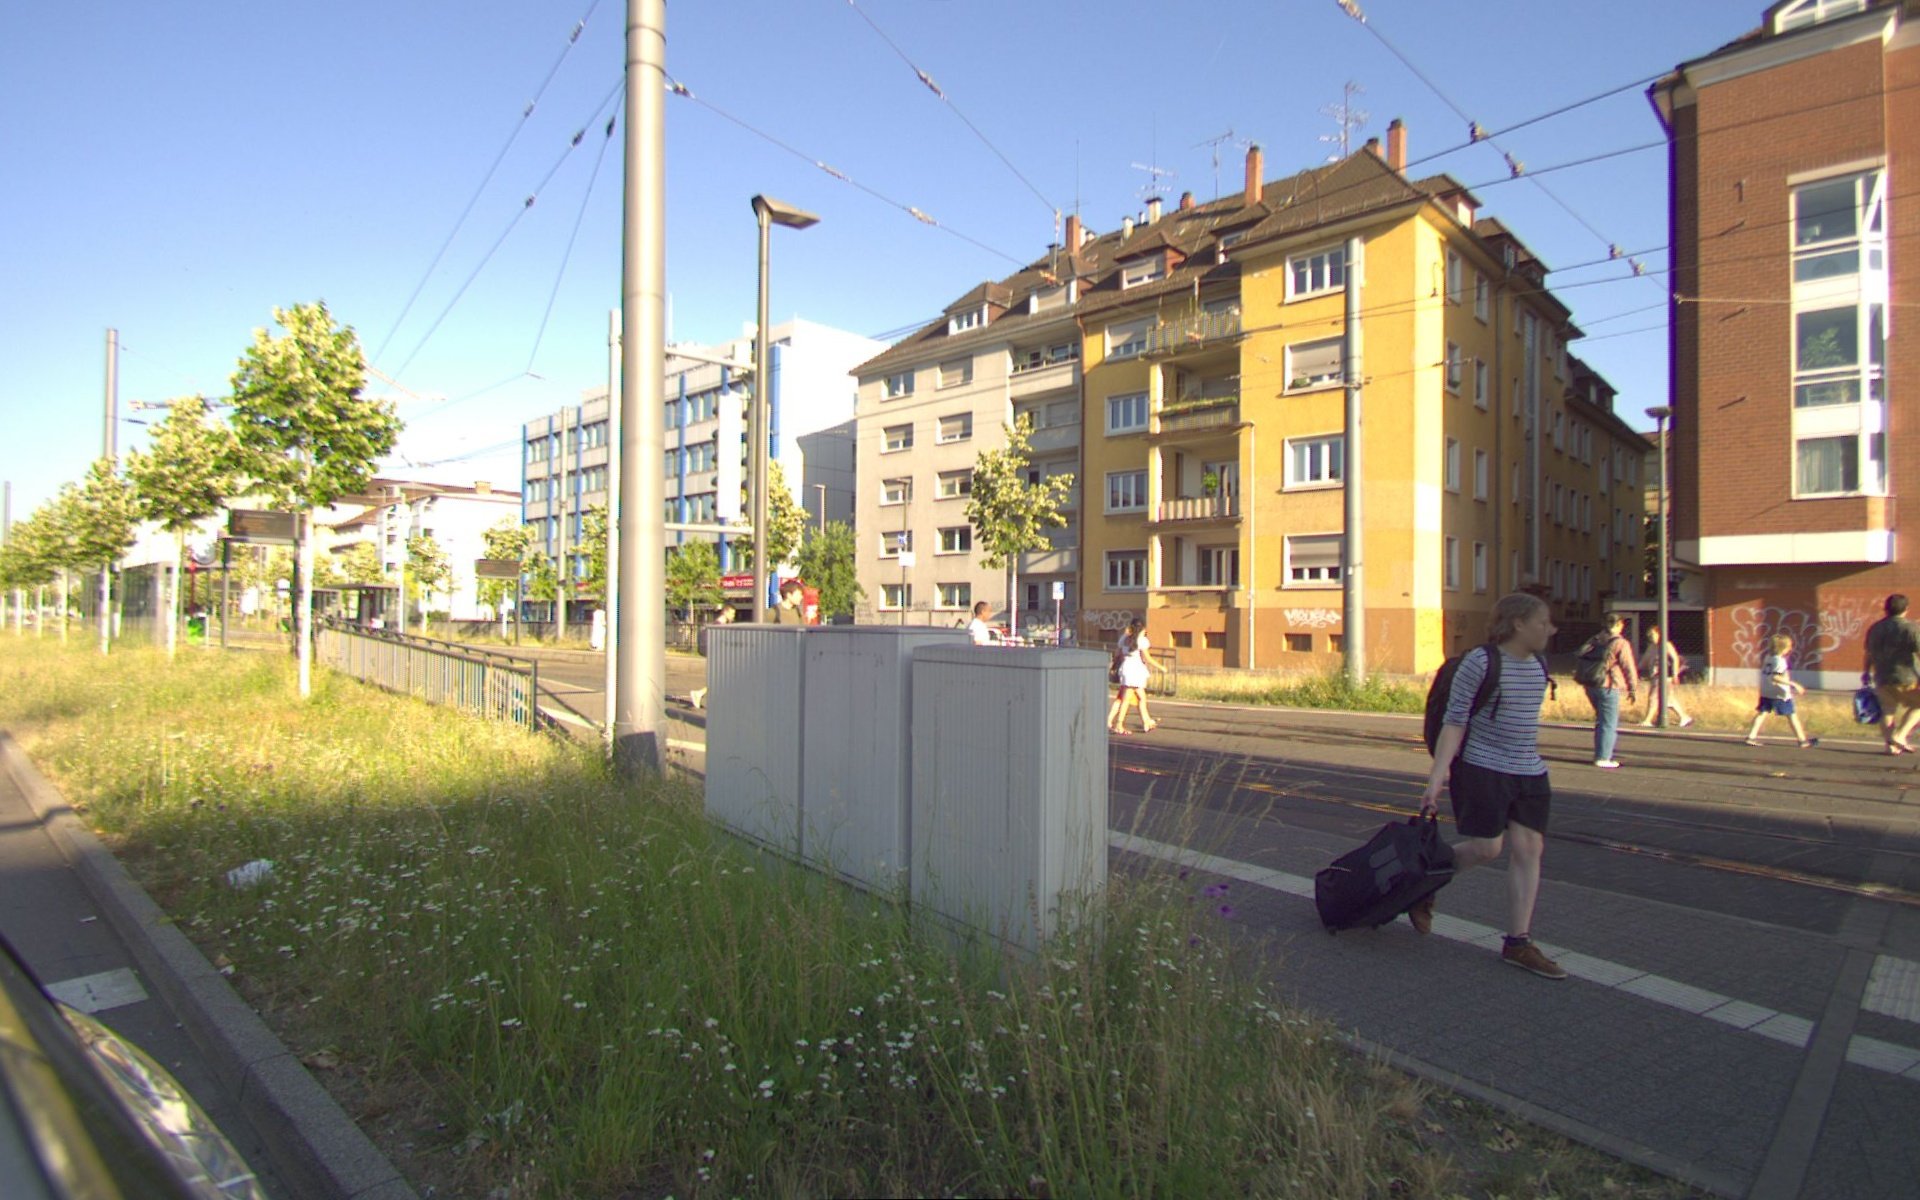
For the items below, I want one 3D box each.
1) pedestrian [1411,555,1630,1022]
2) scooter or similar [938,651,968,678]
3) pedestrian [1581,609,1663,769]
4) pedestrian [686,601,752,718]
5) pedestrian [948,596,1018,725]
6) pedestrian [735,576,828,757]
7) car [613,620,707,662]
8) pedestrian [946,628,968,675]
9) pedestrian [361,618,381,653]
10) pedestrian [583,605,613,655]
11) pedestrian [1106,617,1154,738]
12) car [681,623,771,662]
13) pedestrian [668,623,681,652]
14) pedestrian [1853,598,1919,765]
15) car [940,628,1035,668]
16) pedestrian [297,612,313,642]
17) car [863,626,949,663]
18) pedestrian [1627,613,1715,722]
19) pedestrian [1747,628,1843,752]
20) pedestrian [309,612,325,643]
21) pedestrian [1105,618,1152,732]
[{"bbox_3d":[2.272,0.666,4.084,0.619,1.653,0.777,-1,0,41],"label":"pedestrian"},{"bbox_3d":[-0.296,2.597,40.903,0.479,1.013,1.332,0,0,-40],"label":"scooter or similar"},{"bbox_3d":[6.790,0.874,10.380,0.619,1.547,0.778,-1,0,39],"label":"pedestrian"},{"bbox_3d":[-3.672,0.879,15.421,0.776,1.711,0.620,0,0,-44],"label":"pedestrian"},{"bbox_3d":[0.296,0.766,12.765,0.616,1.561,0.781,-2,-4,24],"label":"pedestrian"},{"bbox_3d":[-1.937,0.687,11.006,0.776,1.878,0.620,0,0,-44],"label":"pedestrian"},{"bbox_3d":[-12.094,1.613,40.710,3.943,1.519,1.861,-1,0,43],"label":"car"},{"bbox_3d":[-0.112,2.072,40.849,0.553,1.861,0.724,0,0,-40],"label":"pedestrian"},{"bbox_3d":[-29.178,1.753,50.156,0.771,1.705,0.651,-1,0,41],"label":"pedestrian"},{"bbox_3d":[-12.339,1.013,34.476,0.776,1.685,0.620,0,0,-44],"label":"pedestrian"},{"bbox_3d":[2.141,0.947,12.689,0.520,1.467,0.635,-1,0,16],"label":"pedestrian"},{"bbox_3d":[-10.022,1.761,43.254,3.943,1.519,1.861,-1,0,43],"label":"car"},{"bbox_3d":[-18.088,2.364,64.144,0.636,1.759,0.600,0,0,-41],"label":"pedestrian"},{"bbox_3d":[10.594,0.869,11.142,0.884,1.771,0.779,0,0,-18],"label":"pedestrian"},{"bbox_3d":[1.139,1.964,42.533,3.674,1.519,1.861,-1,0,43],"label":"car"},{"bbox_3d":[-37.981,1.553,58.705,0.650,1.705,0.772,0,0,-44],"label":"pedestrian"},{"bbox_3d":[-2.467,1.995,45.797,3.674,1.519,1.861,-1,0,43],"label":"car"},{"bbox_3d":[10.851,1.005,15.464,0.672,1.596,0.844,0,0,-20],"label":"pedestrian"},{"bbox_3d":[9.758,1.032,11.839,0.597,1.370,0.598,1,1,-22],"label":"pedestrian"},{"bbox_3d":[-36.288,1.538,57.135,0.650,1.705,0.773,0,0,-41],"label":"pedestrian"},{"bbox_3d":[2.230,0.968,13.349,0.520,1.442,0.635,-1,0,17],"label":"pedestrian"}]
